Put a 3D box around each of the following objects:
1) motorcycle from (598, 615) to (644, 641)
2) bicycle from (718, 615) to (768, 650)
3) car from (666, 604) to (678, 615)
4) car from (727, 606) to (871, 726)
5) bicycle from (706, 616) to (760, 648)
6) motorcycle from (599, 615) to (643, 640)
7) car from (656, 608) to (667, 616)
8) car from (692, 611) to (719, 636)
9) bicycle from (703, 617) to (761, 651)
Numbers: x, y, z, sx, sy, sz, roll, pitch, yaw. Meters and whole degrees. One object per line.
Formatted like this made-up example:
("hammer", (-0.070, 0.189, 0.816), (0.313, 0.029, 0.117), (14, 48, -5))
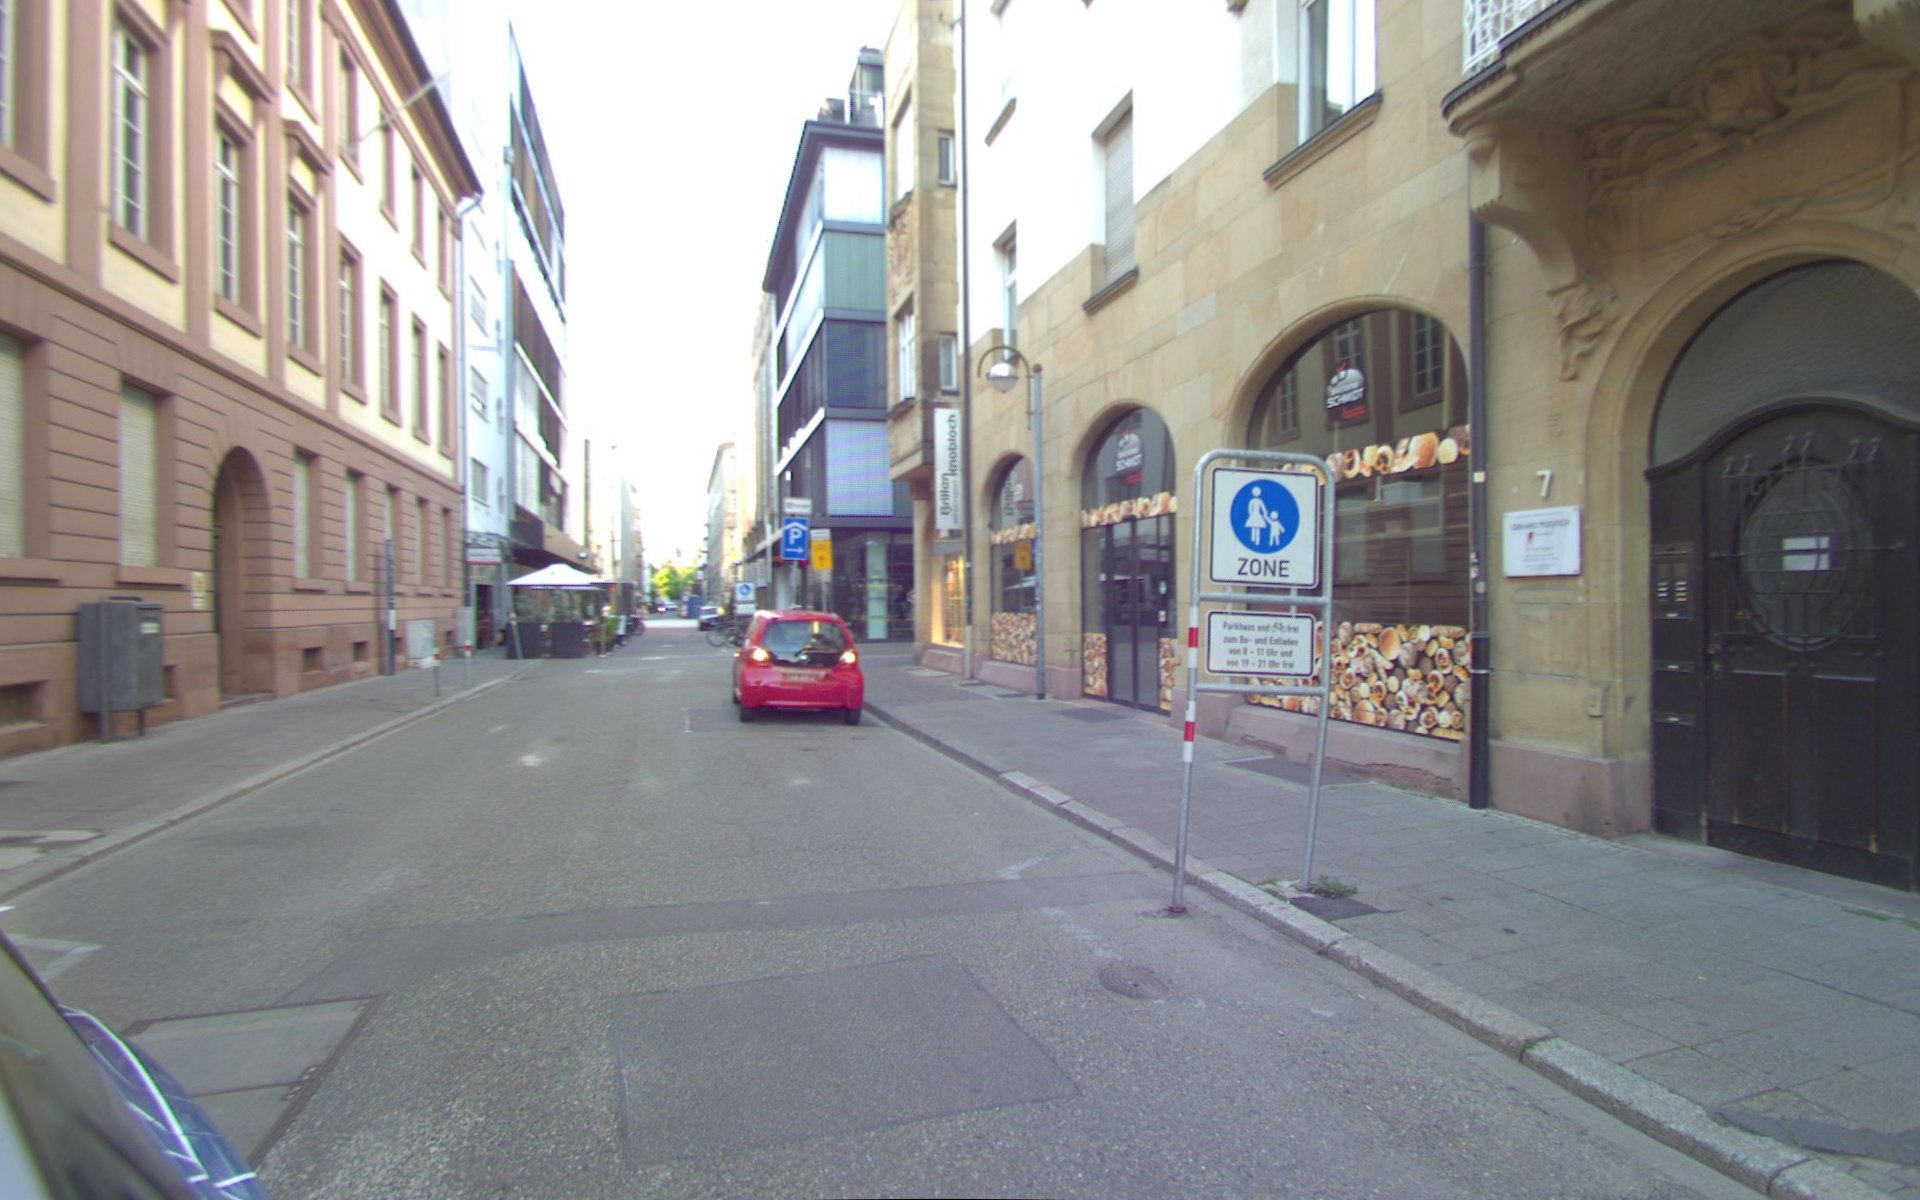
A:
("motorcycle", (-17.331, 1.439, 51.773), (2.158, 1.292, 0.653), (1, -1, -14))
("bicycle", (-7.315, 1.080, 34.072), (1.581, 1.127, 0.622), (-1, 0, -15))
("car", (-36.527, 1.257, 128.362), (1.403, 1.310, 3.573), (-1, 0, -16))
("car", (-2.358, 0.860, 14.232), (1.611, 1.452, 3.165), (3, -1, -15))
("bicycle", (-8.541, 1.211, 38.113), (1.921, 1.139, 0.528), (-1, 0, -15))
("motorcycle", (-17.640, 1.450, 52.691), (2.158, 1.292, 0.653), (1, -1, -14))
("car", (-40.272, 1.649, 136.682), (1.403, 1.104, 3.573), (-1, 0, -16))
("car", (-15.519, 1.382, 61.542), (1.403, 1.428, 3.906), (-1, 0, -16))
("bicycle", (-7.997, 1.177, 35.439), (1.921, 1.139, 0.622), (-1, 0, -15))
